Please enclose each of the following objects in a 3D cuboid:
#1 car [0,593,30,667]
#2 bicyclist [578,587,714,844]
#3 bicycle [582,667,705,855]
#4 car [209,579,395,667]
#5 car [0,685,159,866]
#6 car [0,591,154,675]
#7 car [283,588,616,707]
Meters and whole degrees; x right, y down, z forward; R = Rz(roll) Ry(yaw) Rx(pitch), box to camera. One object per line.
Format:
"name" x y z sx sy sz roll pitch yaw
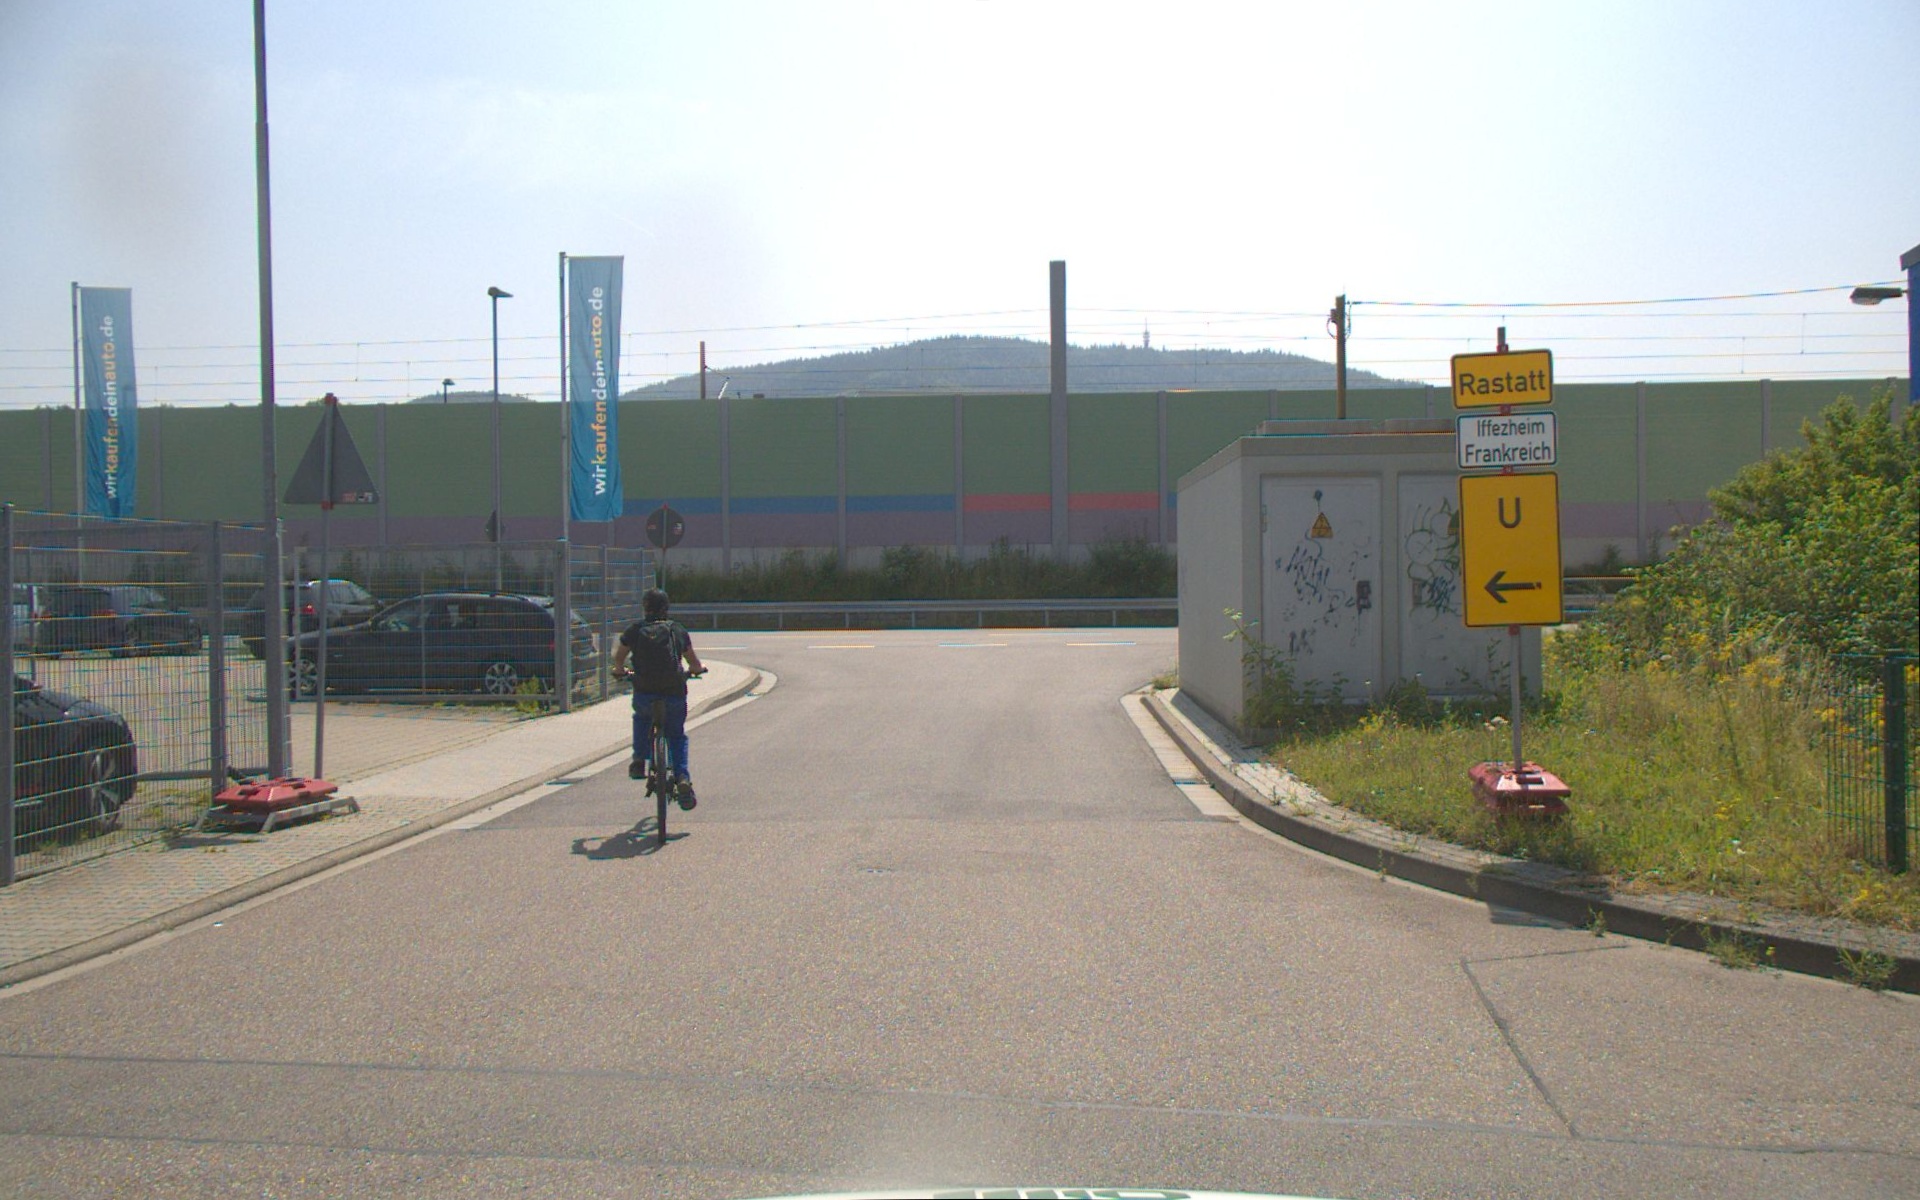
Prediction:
"car" -22.019 0.694 35.298 1.952 1.609 4.001 -1 1 2
"bicyclist" -2.104 0.747 11.199 0.826 1.647 1.038 0 -1 -7
"bicycle" -2.113 1.037 11.237 0.672 1.070 1.898 -1 0 -7
"car" -13.047 0.406 33.068 1.952 1.609 4.001 -1 1 2
"car" -6.765 1.171 10.158 1.452 1.024 4.115 -1 1 4
"car" -18.914 0.648 34.659 1.952 1.609 4.001 -1 1 2
"car" -7.015 0.635 22.966 3.902 1.519 2.002 -1 1 7
